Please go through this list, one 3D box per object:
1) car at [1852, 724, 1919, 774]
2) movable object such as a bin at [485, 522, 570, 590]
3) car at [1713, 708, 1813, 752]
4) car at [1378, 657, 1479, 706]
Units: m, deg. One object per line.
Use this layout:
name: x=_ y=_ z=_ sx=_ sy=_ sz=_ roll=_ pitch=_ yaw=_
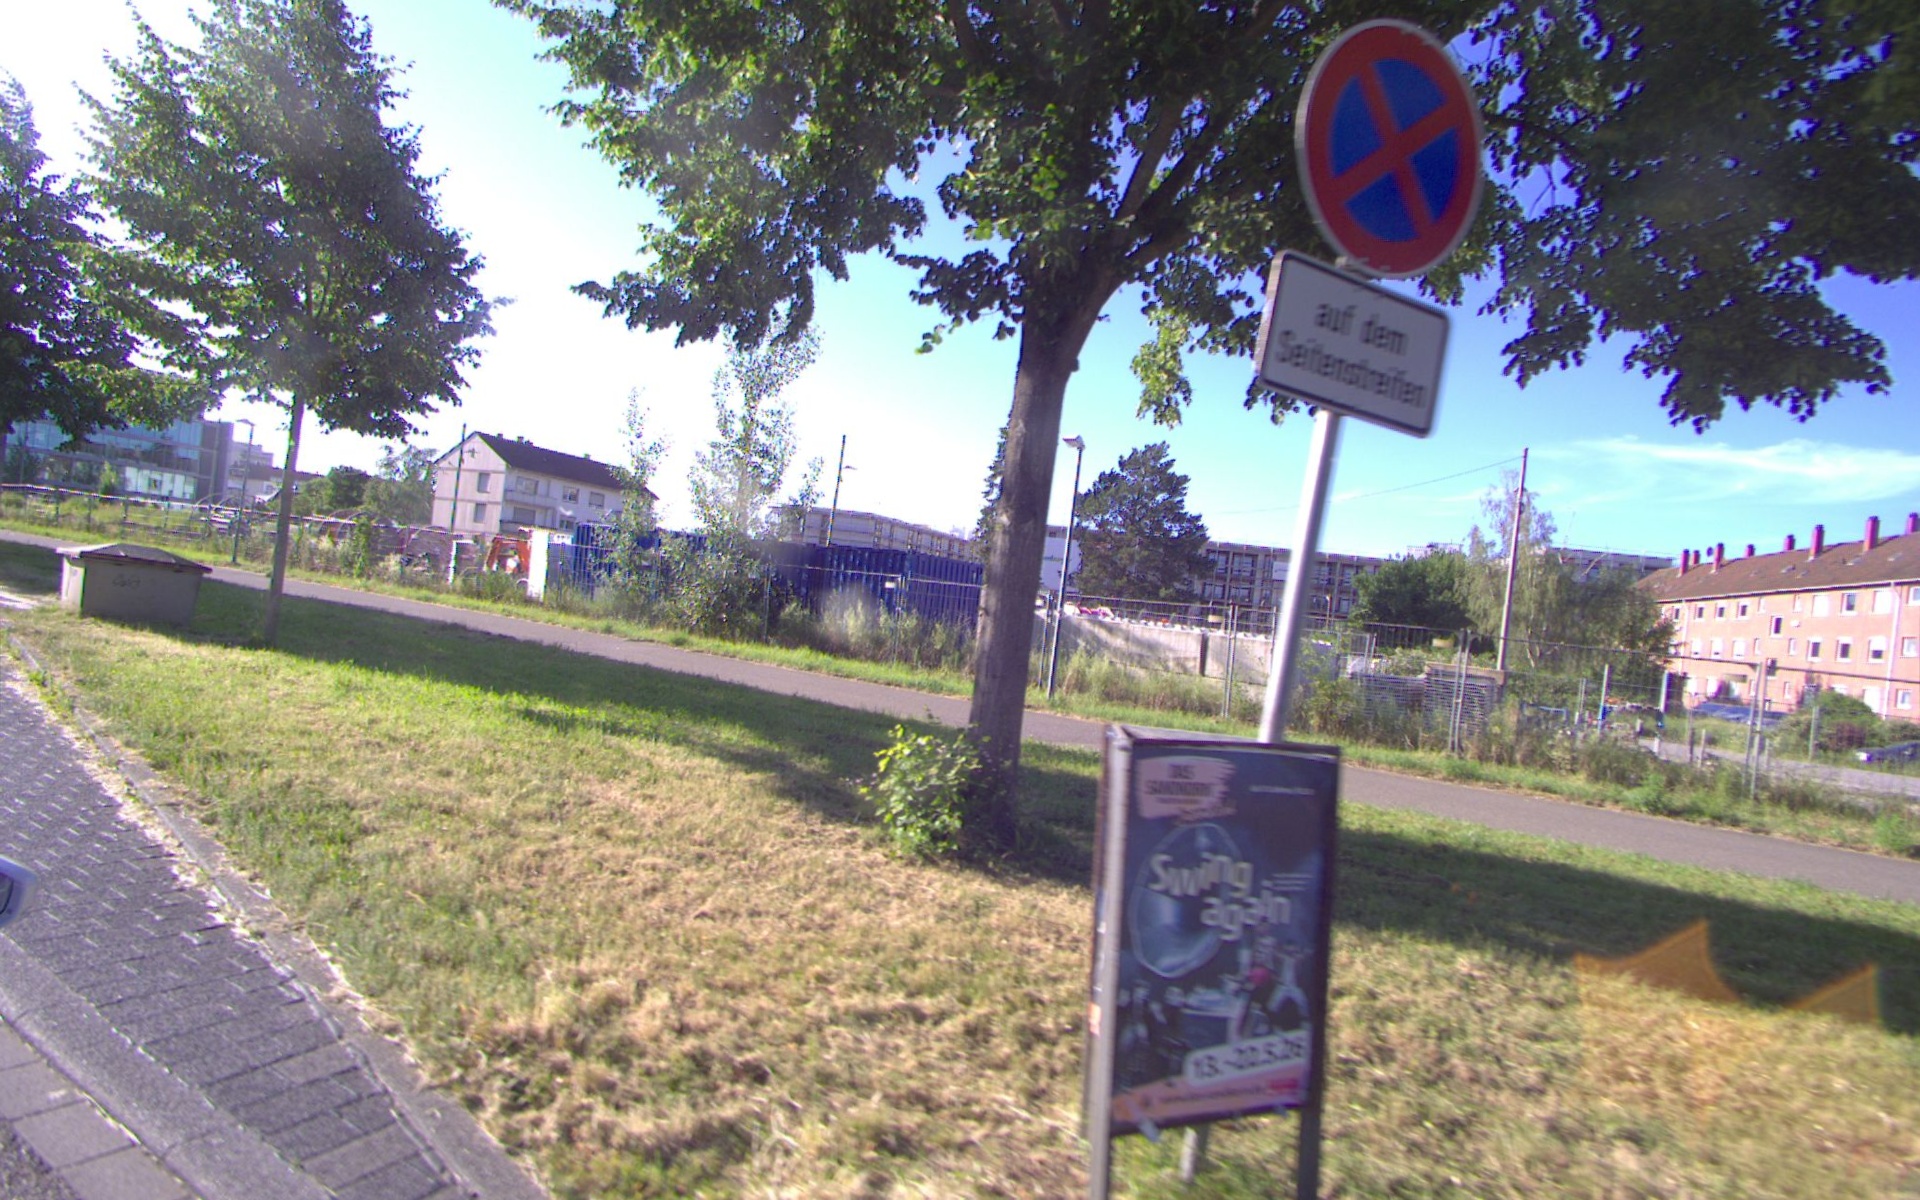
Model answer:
car: x=36.792 y=5.846 z=38.273 sx=3.844 sy=1.575 sz=1.996 roll=6 pitch=-1 yaw=32
movable object such as a bin: x=-14.589 y=-1.478 z=33.946 sx=1.760 sy=2.037 sz=1.797 roll=5 pitch=-2 yaw=32
car: x=41.881 y=6.740 z=52.585 sx=3.734 sy=1.652 sz=1.897 roll=6 pitch=-1 yaw=32
car: x=21.851 y=3.786 z=46.948 sx=3.934 sy=1.748 sz=2.175 roll=6 pitch=-1 yaw=32
